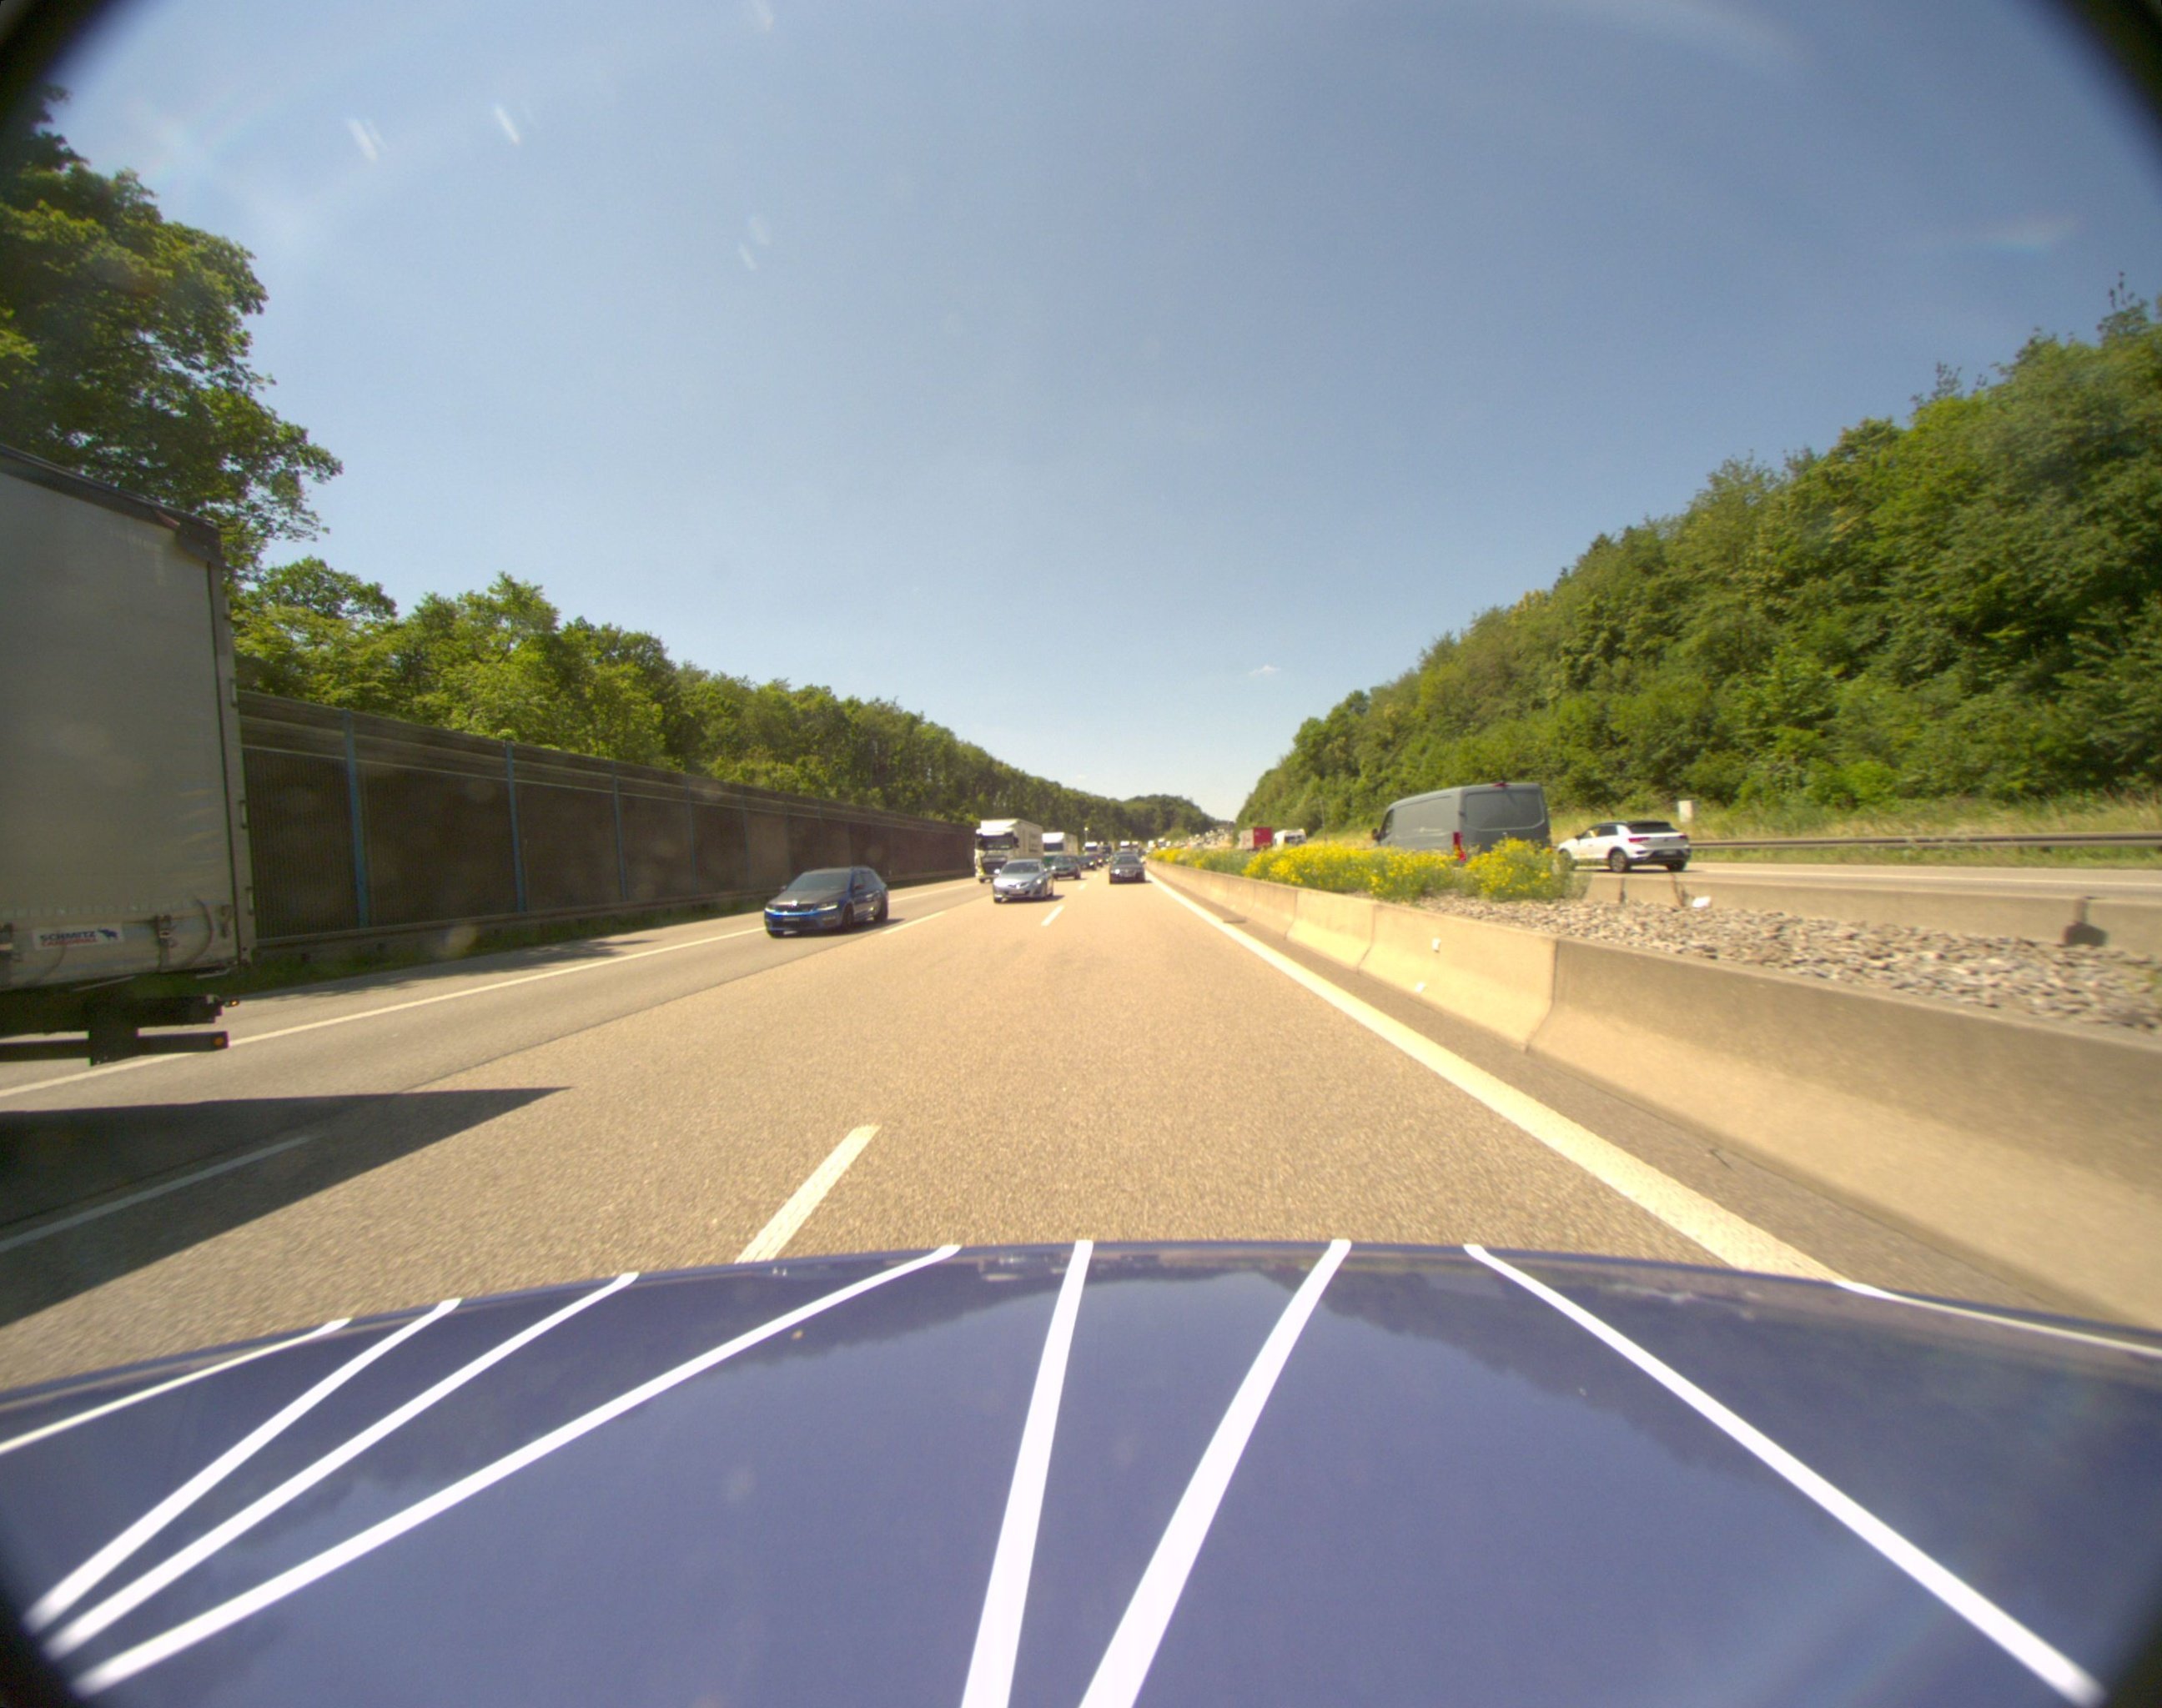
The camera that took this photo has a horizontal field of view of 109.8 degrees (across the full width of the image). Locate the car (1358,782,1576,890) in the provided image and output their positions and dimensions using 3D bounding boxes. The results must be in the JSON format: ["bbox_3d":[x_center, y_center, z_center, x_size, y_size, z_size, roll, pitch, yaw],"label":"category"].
[{"bbox_3d":[8.671,-0.389,17.962,2.328,2.002,6.184,-2,1,4],"label":"car"}]

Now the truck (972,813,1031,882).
[{"bbox_3d":[-5.150,-0.403,50.260,2.811,4.190,5.422,-3,1,4],"label":"truck"}]

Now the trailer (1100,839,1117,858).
[{"bbox_3d":[6.327,-1.326,175.794,3.154,4.061,6.185,-3,0,7],"label":"trailer"}]

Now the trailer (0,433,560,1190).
[{"bbox_3d":[-7.158,-0.158,1.382,2.604,4.067,13.590,-3,1,1],"label":"trailer"}]

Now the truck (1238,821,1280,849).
[{"bbox_3d":[26.290,-2.772,113.177,3.929,3.697,16.746,-2,1,7],"label":"truck"}]

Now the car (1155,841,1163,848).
[{"bbox_3d":[21.437,-2.621,208.578,1.998,2.002,4.001,-3,0,5],"label":"car"}]

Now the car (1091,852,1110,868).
[{"bbox_3d":[2.210,0.638,84.693,1.998,1.641,4.000,-3,1,3],"label":"car"}]

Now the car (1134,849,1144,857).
[{"bbox_3d":[12.617,-0.196,165.673,1.998,1.641,4.000,-3,1,3],"label":"car"}]

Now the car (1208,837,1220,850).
[{"bbox_3d":[25.809,-1.946,147.561,1.998,2.385,4.001,-3,0,5],"label":"car"}]

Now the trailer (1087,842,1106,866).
[{"bbox_3d":[3.088,-0.130,150.633,2.853,4.391,13.030,-3,0,4],"label":"trailer"}]

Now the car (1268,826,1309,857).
[{"bbox_3d":[18.405,-1.111,67.762,2.161,2.608,5.976,-2,1,2],"label":"car"}]

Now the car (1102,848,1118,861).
[{"bbox_3d":[3.915,0.046,102.918,1.998,1.641,4.000,-3,1,3],"label":"car"}]

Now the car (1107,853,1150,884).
[{"bbox_3d":[2.351,0.694,38.587,1.907,1.410,4.000,-3,0,1],"label":"car"}]

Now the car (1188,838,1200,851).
[{"bbox_3d":[21.799,-1.773,146.812,1.998,2.385,4.001,-3,0,5],"label":"car"}]

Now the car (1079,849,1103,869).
[{"bbox_3d":[0.960,0.429,69.997,1.998,1.641,4.000,-3,0,2],"label":"car"}]

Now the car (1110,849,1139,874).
[{"bbox_3d":[3.186,0.501,56.128,1.998,1.641,4.000,-3,1,2],"label":"car"}]

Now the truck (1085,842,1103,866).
[{"bbox_3d":[2.490,-0.048,142.645,2.853,4.382,5.240,-3,1,4],"label":"truck"}]

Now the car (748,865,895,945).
[{"bbox_3d":[-5.931,1.106,17.953,1.860,1.485,4.177,-3,0,2],"label":"car"}]

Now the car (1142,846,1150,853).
[{"bbox_3d":[16.710,-1.087,195.270,1.998,1.641,4.000,-3,1,3],"label":"car"}]

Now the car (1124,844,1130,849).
[{"bbox_3d":[14.251,-2.328,235.771,1.998,1.641,4.000,-3,1,3],"label":"car"}]

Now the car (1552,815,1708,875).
[{"bbox_3d":[16.534,-0.274,23.171,1.780,1.619,4.117,-2,1,1],"label":"car"}]

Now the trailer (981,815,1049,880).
[{"bbox_3d":[-4.671,-0.482,57.323,2.821,4.190,13.467,-3,0,4],"label":"trailer"}]

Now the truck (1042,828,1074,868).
[{"bbox_3d":[-2.443,-0.648,82.180,2.544,4.150,4.746,-3,1,6],"label":"truck"}]

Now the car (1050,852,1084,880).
[{"bbox_3d":[-0.815,0.712,47.352,1.907,1.550,4.000,-3,0,1],"label":"car"}]

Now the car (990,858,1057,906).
[{"bbox_3d":[-1.930,0.920,26.771,1.860,1.426,4.177,-3,0,2],"label":"car"}]

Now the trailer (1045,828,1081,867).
[{"bbox_3d":[-1.951,-0.753,87.060,2.541,4.150,10.180,-3,0,6],"label":"trailer"}]
